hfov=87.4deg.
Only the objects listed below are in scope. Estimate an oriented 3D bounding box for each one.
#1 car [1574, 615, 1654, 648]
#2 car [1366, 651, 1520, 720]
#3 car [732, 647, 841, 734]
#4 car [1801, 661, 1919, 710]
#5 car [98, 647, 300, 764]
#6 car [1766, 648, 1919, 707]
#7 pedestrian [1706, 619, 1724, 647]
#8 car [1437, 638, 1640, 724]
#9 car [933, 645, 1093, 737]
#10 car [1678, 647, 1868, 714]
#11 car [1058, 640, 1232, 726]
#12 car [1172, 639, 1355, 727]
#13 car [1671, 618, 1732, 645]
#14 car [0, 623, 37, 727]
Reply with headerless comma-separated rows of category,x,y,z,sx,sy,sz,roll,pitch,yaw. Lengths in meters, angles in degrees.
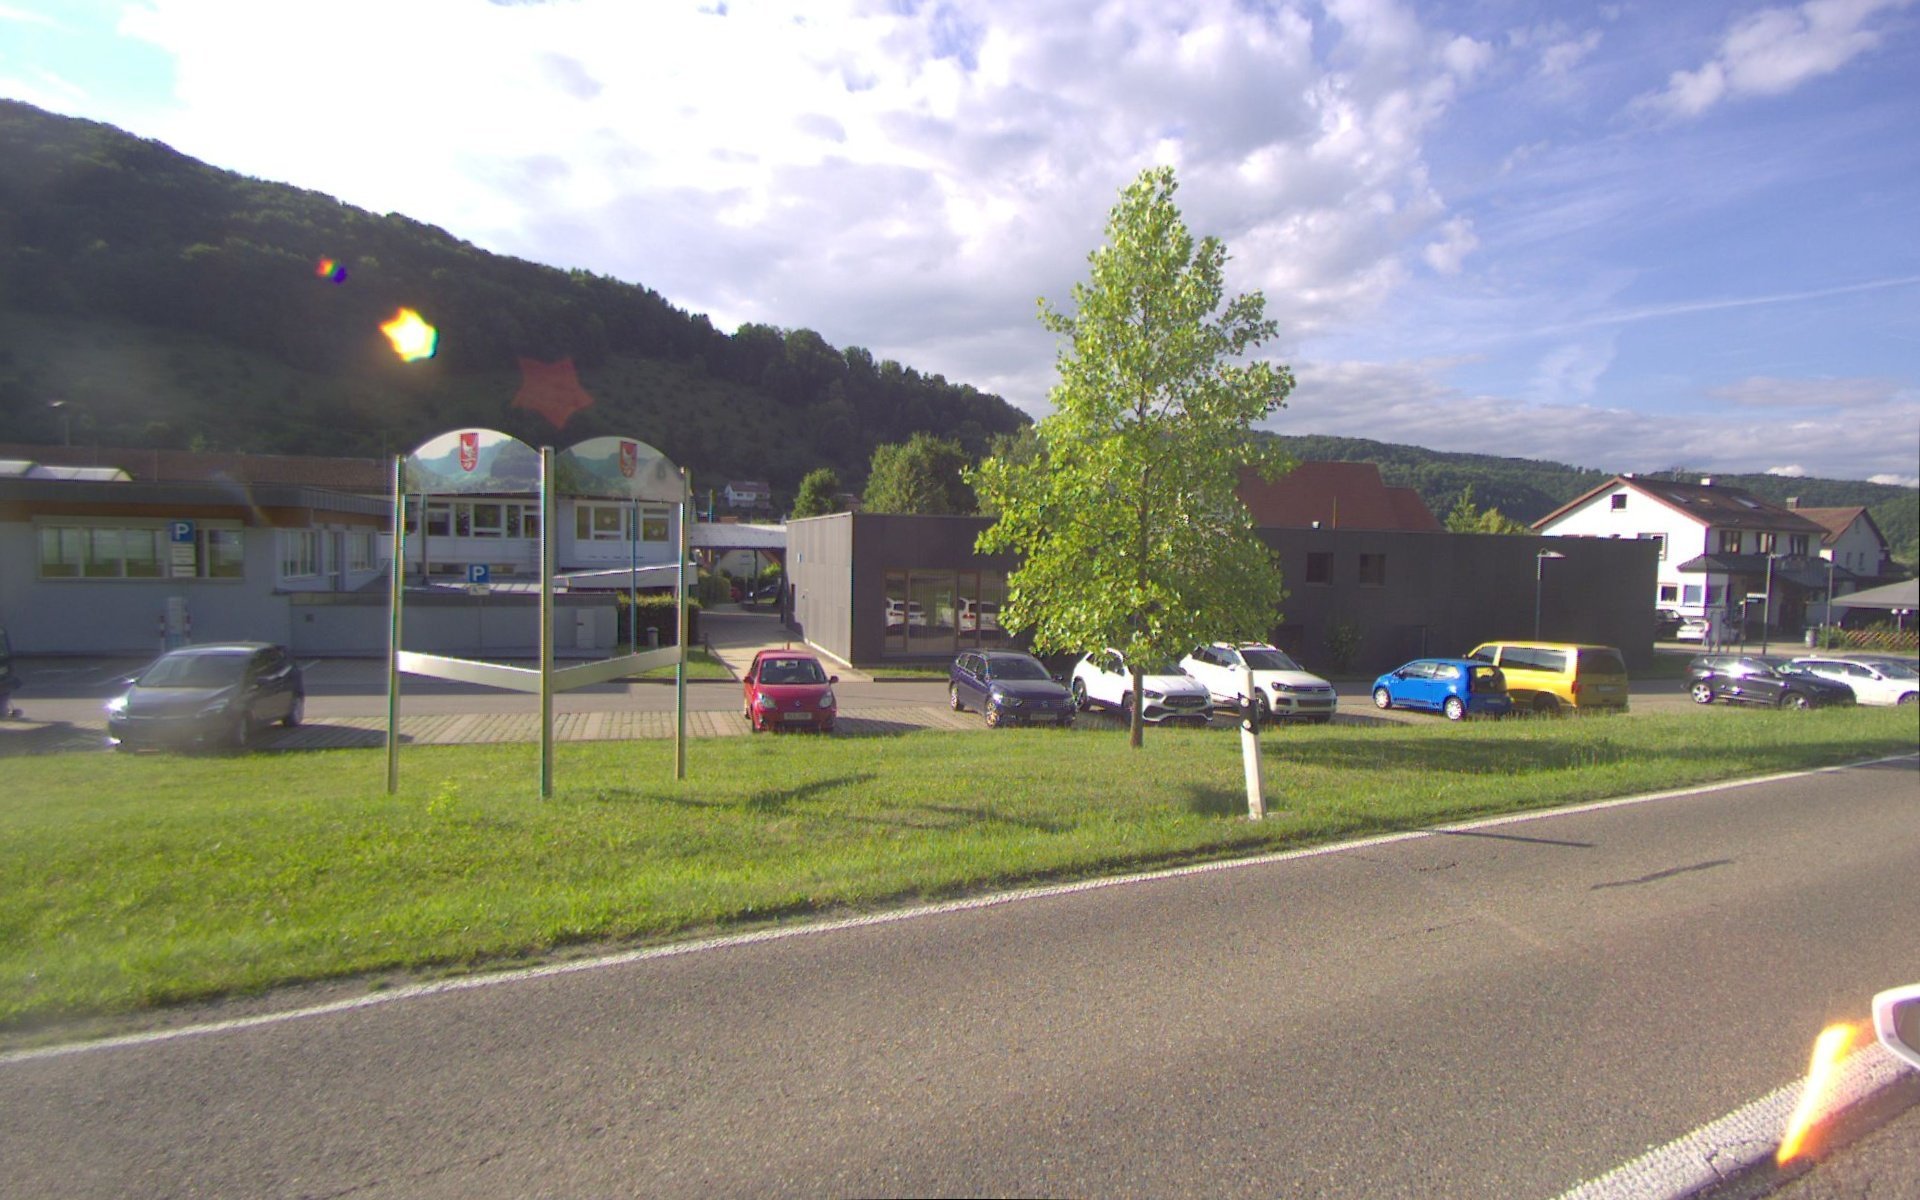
car,36.843,1.740,56.660,1.727,1.684,3.428,2,0,-42
car,12.617,2.193,26.467,1.609,1.492,3.487,2,0,-21
car,-3.617,1.772,20.489,1.591,1.416,3.716,2,0,-19
car,30.536,2.825,33.083,1.736,1.327,3.977,2,0,-23
car,-12.714,1.668,17.071,1.659,1.471,4.000,-1,1,-21
car,28.739,2.421,31.757,1.852,1.513,4.808,2,0,-19
pedestrian,42.695,1.857,56.772,0.583,1.523,0.605,2,0,-32
car,15.297,2.082,26.907,1.967,1.893,4.610,2,0,-16
car,1.028,1.927,22.338,1.969,1.575,4.533,2,0,-19
car,24.490,2.374,30.432,1.969,1.659,4.020,2,0,-19
car,4.147,1.844,23.386,1.969,1.575,4.533,2,0,-19
car,7.281,1.950,24.632,1.969,1.725,4.533,2,0,-19
car,43.741,1.837,59.219,3.956,1.469,1.547,2,0,-32
car,-17.448,1.348,16.443,1.660,1.817,4.983,2,0,-21
